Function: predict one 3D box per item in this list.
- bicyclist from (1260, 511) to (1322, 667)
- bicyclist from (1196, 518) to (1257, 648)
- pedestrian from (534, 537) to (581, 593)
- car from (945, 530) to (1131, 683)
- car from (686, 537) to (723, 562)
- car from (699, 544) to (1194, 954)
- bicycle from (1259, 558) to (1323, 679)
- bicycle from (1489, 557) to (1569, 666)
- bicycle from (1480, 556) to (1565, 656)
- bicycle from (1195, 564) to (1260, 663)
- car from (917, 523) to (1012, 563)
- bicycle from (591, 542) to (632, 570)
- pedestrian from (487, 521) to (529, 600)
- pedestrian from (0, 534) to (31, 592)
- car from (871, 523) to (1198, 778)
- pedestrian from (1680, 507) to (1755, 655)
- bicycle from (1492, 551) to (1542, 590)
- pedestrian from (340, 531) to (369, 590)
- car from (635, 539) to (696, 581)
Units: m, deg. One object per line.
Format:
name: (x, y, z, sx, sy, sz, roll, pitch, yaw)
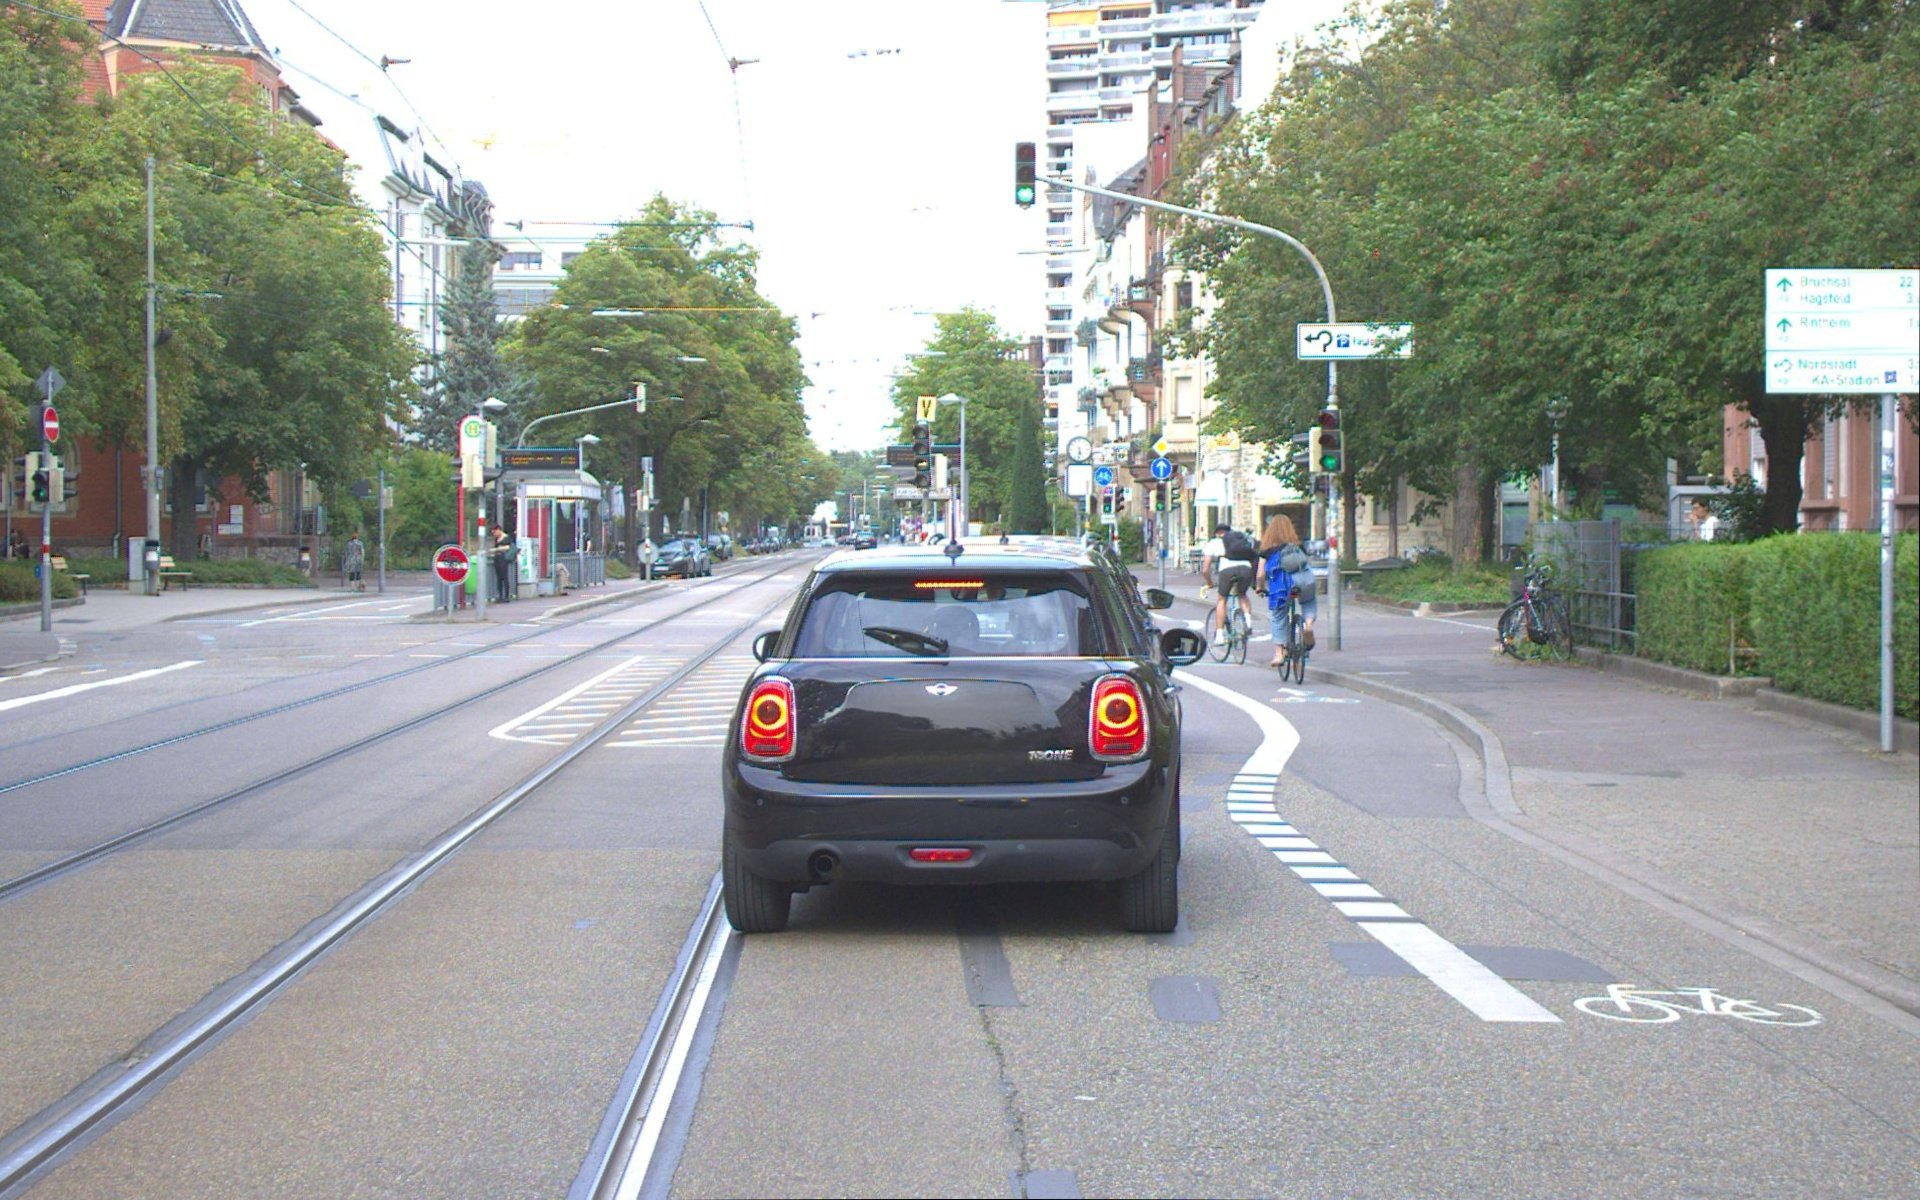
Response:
bicyclist: (3.307, -0.119, 34.429, 0.594, 1.545, 1.013, 0, 1, 4)
bicyclist: (3.241, -0.213, 41.838, 0.684, 1.558, 0.998, 0, 1, 1)
pedestrian: (-9.221, -0.802, 78.767, 1.058, 1.289, 0.986, 0, 1, -6)
car: (0.787, 0.020, 34.737, 1.752, 1.436, 4.479, 0, 1, 1)
car: (-15.653, -3.118, 210.938, 1.993, 1.546, 4.000, 0, 1, -1)
car: (0.032, 0.492, 14.163, 1.752, 1.436, 4.000, 0, 1, 2)
bicycle: (3.309, 0.167, 34.422, 0.598, 1.166, 1.696, 0, 1, 4)
bicycle: (6.024, 0.111, 36.429, 0.508, 1.085, 1.550, -3, 1, -1)
bicycle: (6.397, 0.056, 39.155, 0.671, 1.102, 1.672, 0, 1, -1)
bicycle: (3.237, 0.153, 41.747, 0.684, 1.166, 1.697, 0, 1, 1)
car: (0.275, -3.206, 193.615, 5.025, 2.265, 2.396, -1, 1, -41)
bicycle: (-14.366, -1.809, 141.764, 1.667, 1.115, 0.573, -1, 1, -40)
pedestrian: (-9.313, -0.823, 70.853, 0.851, 1.615, 0.843, 0, 1, -6)
pedestrian: (-27.855, -1.089, 101.296, 0.832, 1.697, 0.733, 0, 1, -6)
car: (0.488, 0.263, 22.271, 1.927, 1.504, 4.000, 0, 1, 1)
pedestrian: (9.046, -0.235, 41.065, 0.730, 1.748, 0.949, 0, 1, 4)
bicycle: (16.210, -0.853, 100.044, 0.532, 1.124, 1.889, 1, 1, 41)
pedestrian: (-17.547, -1.147, 99.661, 0.694, 1.713, 0.758, 0, 1, 1)
car: (-10.568, -1.453, 123.647, 1.752, 1.436, 4.000, 2, 1, 1)
